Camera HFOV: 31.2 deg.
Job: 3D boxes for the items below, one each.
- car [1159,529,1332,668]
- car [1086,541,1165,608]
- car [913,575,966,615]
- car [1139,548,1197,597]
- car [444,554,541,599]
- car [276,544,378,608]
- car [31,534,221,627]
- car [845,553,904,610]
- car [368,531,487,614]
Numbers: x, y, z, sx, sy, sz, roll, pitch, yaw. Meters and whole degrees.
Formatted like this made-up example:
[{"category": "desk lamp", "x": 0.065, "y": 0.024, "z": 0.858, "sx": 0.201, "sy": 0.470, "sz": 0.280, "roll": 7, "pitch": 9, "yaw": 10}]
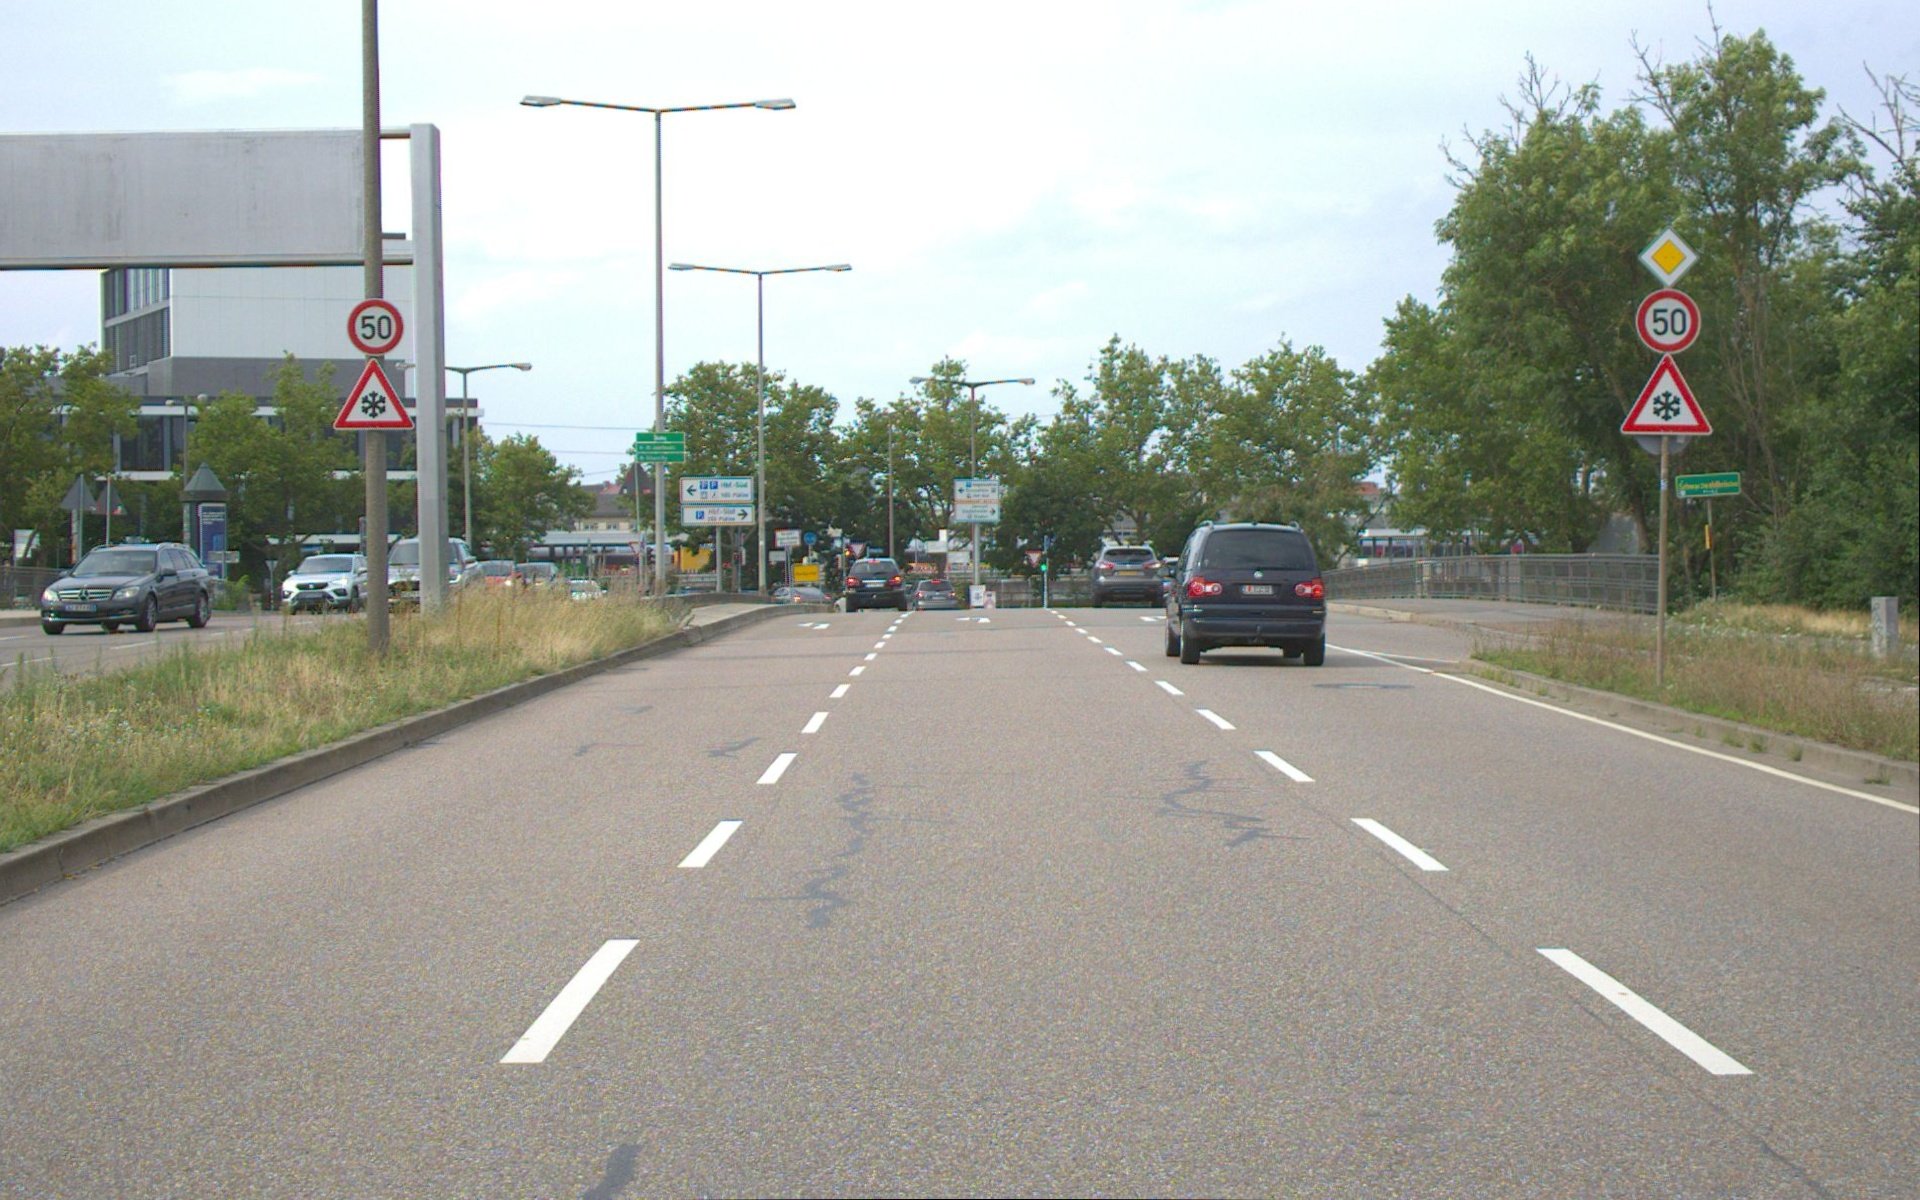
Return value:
[{"category": "car", "x": 3.515, "y": -0.061, "z": 42.938, "sx": 1.730, "sy": 1.647, "sz": 4.115, "roll": 0, "pitch": 1, "yaw": -1}, {"category": "car", "x": 4.205, "y": -0.675, "z": 87.709, "sx": 1.730, "sy": 1.647, "sz": 4.115, "roll": 0, "pitch": 1, "yaw": -1}, {"category": "car", "x": -0.840, "y": -0.208, "z": 138.171, "sx": 1.730, "sy": 1.521, "sz": 4.116, "roll": 0, "pitch": 1, "yaw": -6}, {"category": "car", "x": 6.414, "y": -0.862, "z": 106.119, "sx": 1.507, "sy": 1.442, "sz": 3.140, "roll": 1, "pitch": 2, "yaw": -1}, {"category": "car", "x": -12.109, "y": -0.623, "z": 89.221, "sx": 1.993, "sy": 1.064, "sz": 4.000, "roll": 1, "pitch": 2, "yaw": 0}, {"category": "car", "x": -16.081, "y": -0.605, "z": 87.554, "sx": 1.793, "sy": 1.519, "sz": 4.189, "roll": -2, "pitch": 0, "yaw": 0}, {"category": "car", "x": -13.818, "y": -0.328, "z": 57.216, "sx": 1.666, "sy": 1.420, "sz": 4.518, "roll": -2, "pitch": 0, "yaw": 5}, {"category": "car", "x": -2.561, "y": -0.574, "z": 102.947, "sx": 1.730, "sy": 1.647, "sz": 4.115, "roll": 0, "pitch": 1, "yaw": -1}, {"category": "car", "x": -9.744, "y": -0.513, "z": 63.105, "sx": 1.694, "sy": 1.481, "sz": 3.861, "roll": 0, "pitch": 1, "yaw": -2}]
